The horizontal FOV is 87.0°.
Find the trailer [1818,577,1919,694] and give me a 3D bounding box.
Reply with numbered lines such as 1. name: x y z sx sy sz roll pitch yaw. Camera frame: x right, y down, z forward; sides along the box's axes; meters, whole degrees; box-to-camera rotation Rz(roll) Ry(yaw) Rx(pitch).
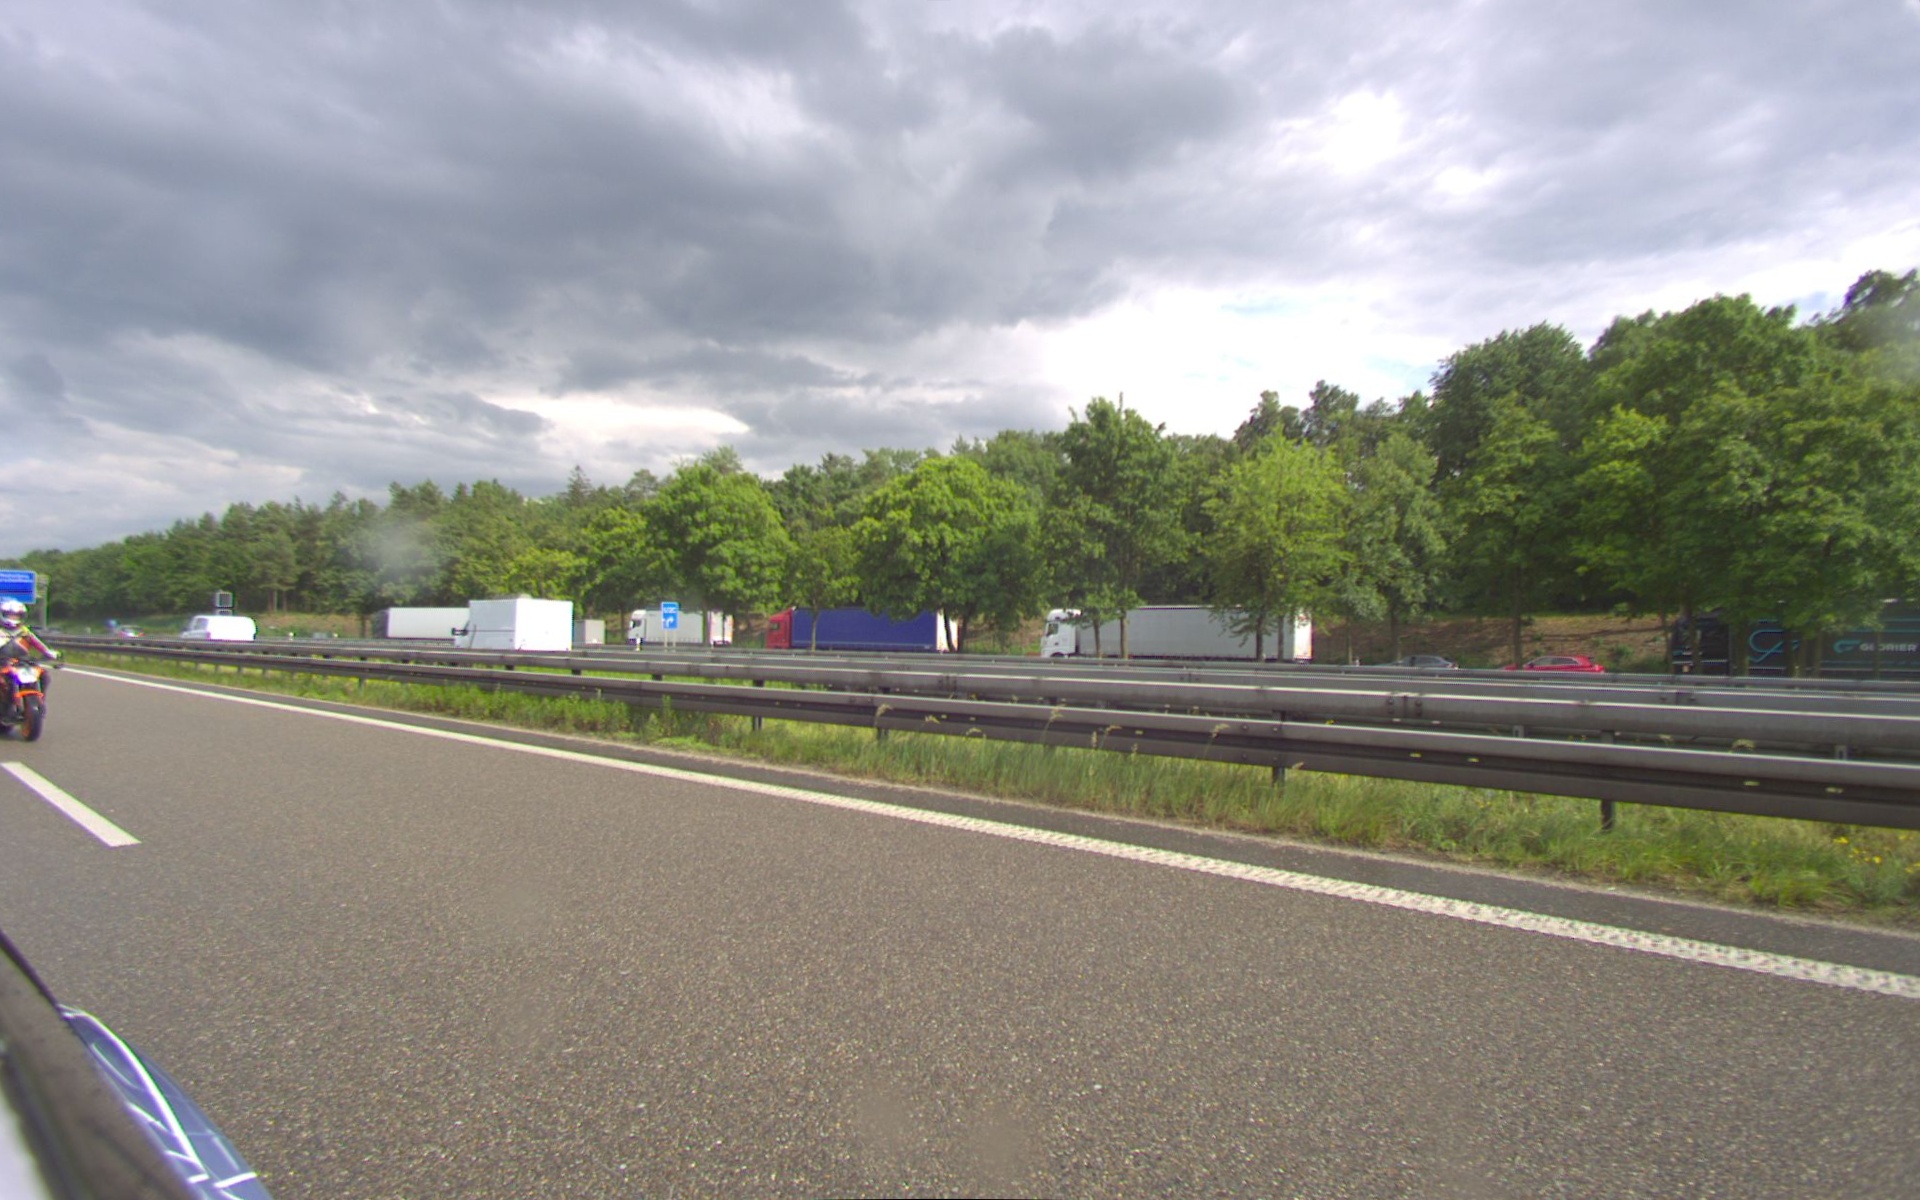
1. trailer: 40.845 1.319 37.387 13.797 4.439 3.748 -2 -2 42

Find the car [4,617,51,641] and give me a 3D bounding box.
1. car: -76.385 2.366 82.893 4.776 1.905 2.277 -1 0 41

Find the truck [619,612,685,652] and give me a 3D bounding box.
1. truck: -26.180 2.689 85.914 5.067 3.292 2.635 -1 0 31

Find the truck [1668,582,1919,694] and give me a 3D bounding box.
1. truck: 35.090 1.477 42.488 8.414 4.266 3.748 -1 0 42

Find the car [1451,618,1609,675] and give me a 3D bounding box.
1. car: 27.357 2.163 48.711 6.208 2.501 2.763 -1 0 42

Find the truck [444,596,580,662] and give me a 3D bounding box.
1. truck: -19.962 1.236 44.875 7.189 2.702 2.812 -1 0 42

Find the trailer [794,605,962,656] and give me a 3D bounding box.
1. trailer: -6.139 2.197 73.265 13.390 3.431 2.799 -1 -2 34

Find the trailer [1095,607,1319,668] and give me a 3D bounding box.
1. trailer: 14.093 2.135 58.918 12.460 3.241 3.315 -1 -2 39

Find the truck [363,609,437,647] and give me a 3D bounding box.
1. truck: -56.425 2.806 101.917 6.881 3.733 3.189 -1 0 27

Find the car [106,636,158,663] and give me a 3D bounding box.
1. car: -62.765 3.712 76.692 4.776 1.905 2.277 -1 0 41

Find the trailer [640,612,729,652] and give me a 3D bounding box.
1. trailer: -22.891 2.631 84.018 7.713 3.257 2.560 -1 -2 31

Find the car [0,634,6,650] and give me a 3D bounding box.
1. car: -118.818 5.181 124.427 4.776 1.905 1.811 -1 0 41

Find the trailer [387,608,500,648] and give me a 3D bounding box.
1. trailer: -50.574 2.745 98.958 12.506 3.767 3.185 -1 -2 27

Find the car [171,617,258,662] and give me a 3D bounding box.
1. car: -33.690 1.730 45.681 5.256 1.905 2.025 -1 0 41

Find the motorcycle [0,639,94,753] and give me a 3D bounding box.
1. motorcycle: -12.047 1.142 12.707 3.190 1.235 1.173 -1 0 38

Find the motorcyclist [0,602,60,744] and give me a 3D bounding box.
1. motorcyclist: -12.001 0.892 12.720 0.999 1.719 0.872 -1 -1 38

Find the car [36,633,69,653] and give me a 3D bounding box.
1. car: -89.922 4.223 100.284 4.776 1.905 1.811 -1 0 41

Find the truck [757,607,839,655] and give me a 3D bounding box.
1. truck: -12.437 2.331 77.552 5.881 3.482 2.837 -1 0 34

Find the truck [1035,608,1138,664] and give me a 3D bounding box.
1. truck: 7.971 2.218 63.831 5.498 3.298 3.321 -1 0 37
